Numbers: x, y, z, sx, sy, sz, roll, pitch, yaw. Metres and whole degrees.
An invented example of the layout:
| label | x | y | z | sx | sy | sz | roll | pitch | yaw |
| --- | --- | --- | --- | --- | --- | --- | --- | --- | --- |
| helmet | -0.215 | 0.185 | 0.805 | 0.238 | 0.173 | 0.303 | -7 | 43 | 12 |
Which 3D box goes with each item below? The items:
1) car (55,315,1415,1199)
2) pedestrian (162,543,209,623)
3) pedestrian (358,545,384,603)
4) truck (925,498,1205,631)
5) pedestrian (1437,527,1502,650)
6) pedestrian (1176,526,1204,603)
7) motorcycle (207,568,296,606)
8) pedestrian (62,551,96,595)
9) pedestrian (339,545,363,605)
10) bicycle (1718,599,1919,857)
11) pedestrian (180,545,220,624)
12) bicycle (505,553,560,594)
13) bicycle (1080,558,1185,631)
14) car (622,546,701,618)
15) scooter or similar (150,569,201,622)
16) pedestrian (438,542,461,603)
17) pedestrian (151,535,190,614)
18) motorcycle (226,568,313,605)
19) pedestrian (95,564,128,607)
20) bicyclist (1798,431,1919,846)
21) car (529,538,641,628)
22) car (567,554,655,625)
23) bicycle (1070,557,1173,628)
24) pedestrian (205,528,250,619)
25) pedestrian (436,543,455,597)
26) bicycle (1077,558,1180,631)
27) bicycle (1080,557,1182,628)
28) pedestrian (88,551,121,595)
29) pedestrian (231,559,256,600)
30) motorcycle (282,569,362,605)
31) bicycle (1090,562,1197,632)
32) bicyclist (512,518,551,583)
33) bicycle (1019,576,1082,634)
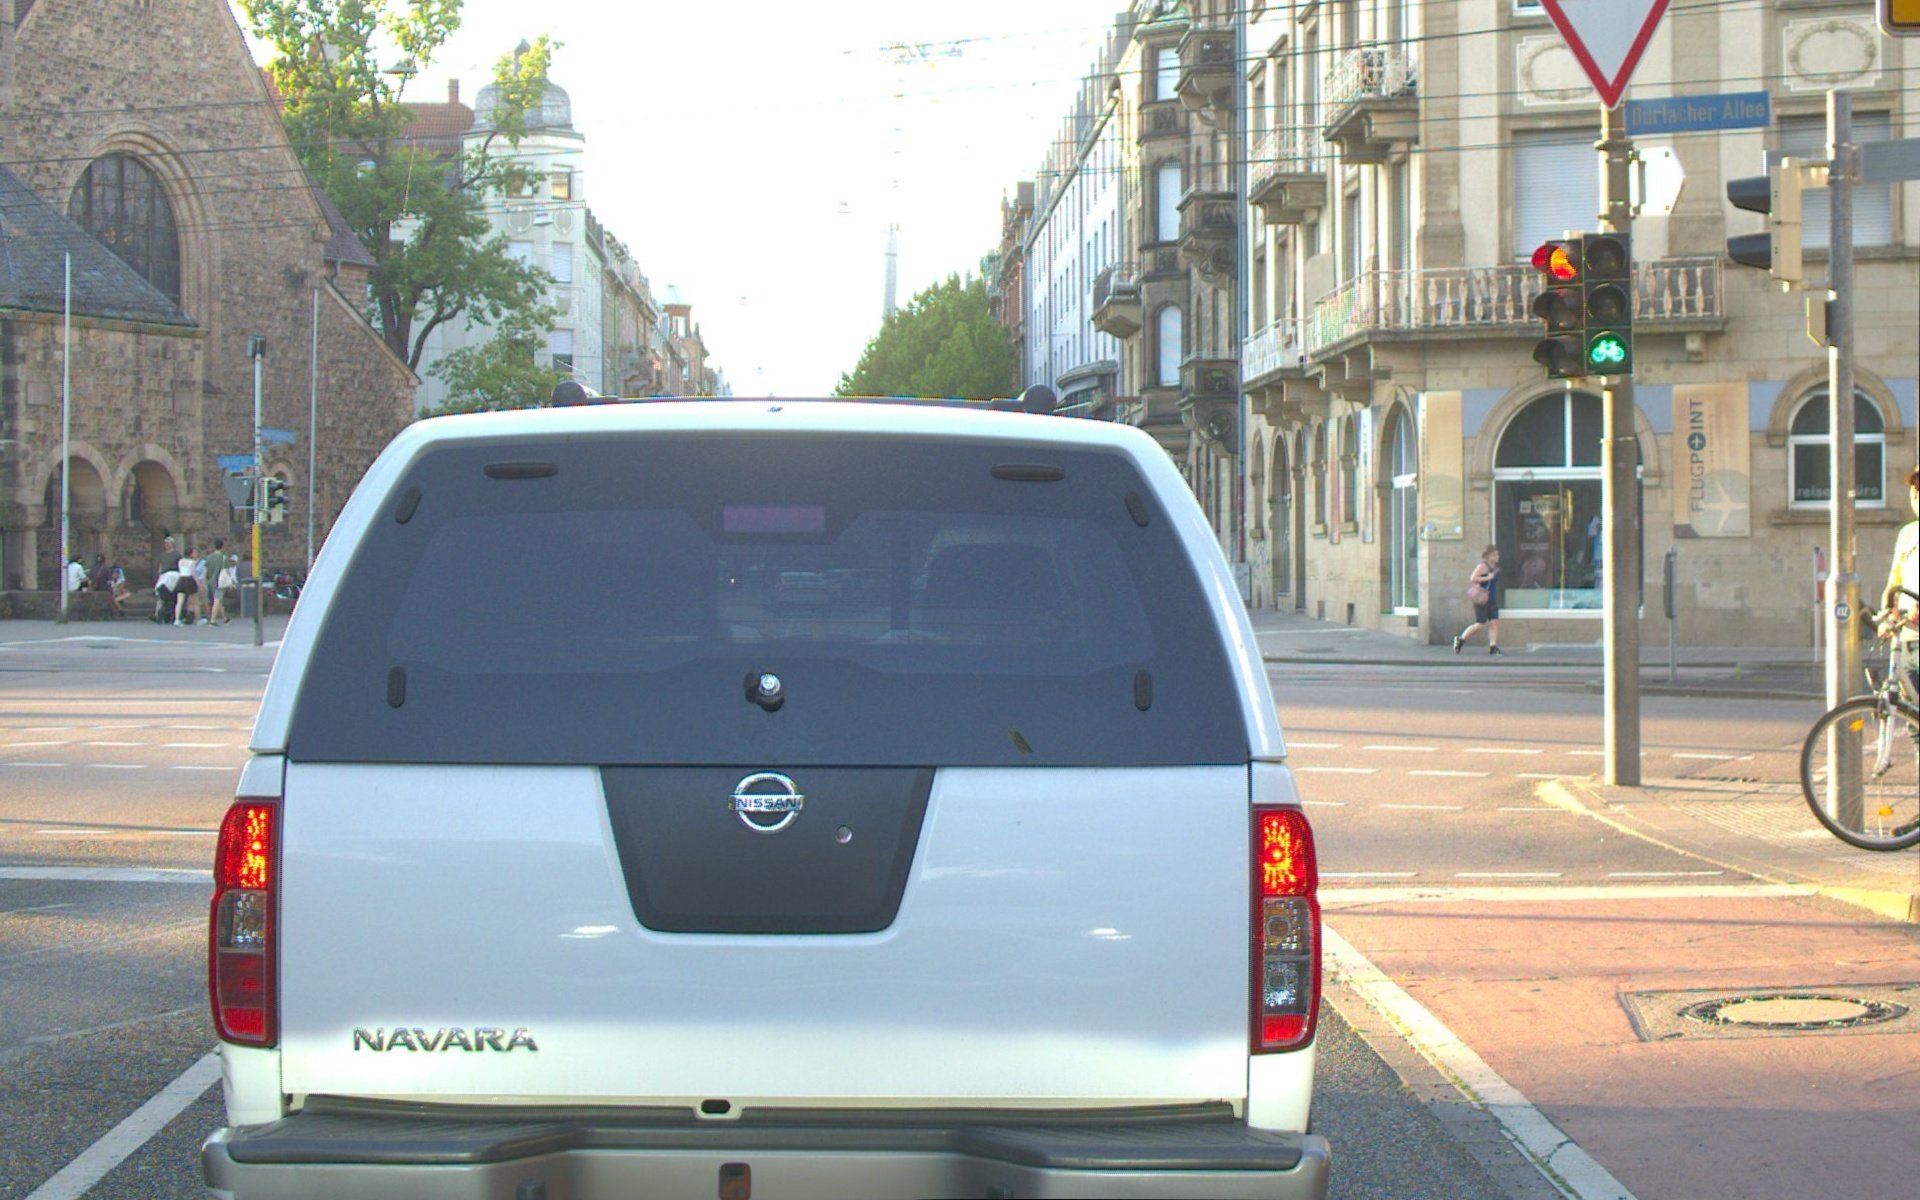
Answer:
| label | x | y | z | sx | sy | sz | roll | pitch | yaw |
| --- | --- | --- | --- | --- | --- | --- | --- | --- | --- |
| car | -0.359 | 0.488 | 7.097 | 1.993 | 1.803 | 4.000 | 1 | 0 | -1 |
| pedestrian | -16.284 | -0.363 | 72.278 | 0.812 | 1.664 | 0.860 | 1 | 0 | -3 |
| pedestrian | -17.093 | -0.754 | 99.830 | 0.642 | 1.690 | 0.562 | 1 | 0 | -1 |
| truck | 2.144 | -0.694 | 68.798 | 5.658 | 2.556 | 2.286 | 0 | 1 | -44 |
| pedestrian | 7.396 | -0.168 | 49.889 | 0.788 | 1.773 | 0.543 | 1 | 0 | 25 |
| pedestrian | 4.932 | -0.763 | 73.759 | 0.527 | 1.648 | 0.547 | 1 | 0 | -1 |
| motorcycle | -18.892 | -0.359 | 91.701 | 2.243 | 0.984 | 0.708 | 1 | 0 | -6 |
| pedestrian | -19.214 | -0.596 | 74.973 | 0.522 | 0.957 | 0.479 | 1 | 0 | 19 |
| pedestrian | -17.283 | -0.706 | 97.528 | 0.642 | 1.690 | 0.562 | 1 | 0 | -9 |
| bicycle | 4.425 | 0.558 | 15.615 | 2.065 | 1.106 | 0.628 | 1 | 0 | -33 |
| pedestrian | -16.416 | -0.338 | 74.285 | 0.634 | 1.693 | 0.602 | 1 | 0 | 10 |
| bicycle | -10.968 | -0.682 | 88.211 | 0.599 | 1.040 | 1.944 | 1 | 0 | 19 |
| bicycle | 3.174 | -0.103 | 63.183 | 1.817 | 1.233 | 0.488 | -3 | 0 | -2 |
| car | -8.689 | -0.552 | 100.389 | 1.993 | 2.007 | 4.951 | -1 | 1 | -2 |
| scooter or similar | -16.750 | -0.097 | 73.412 | 0.634 | 1.099 | 1.078 | 1 | 1 | 13 |
| pedestrian | -15.715 | -0.841 | 105.834 | 0.642 | 1.849 | 0.562 | 1 | 0 | -15 |
| pedestrian | -17.138 | -0.557 | 74.628 | 0.634 | 1.693 | 0.603 | 1 | 0 | 6 |
| motorcycle | -18.822 | -0.366 | 93.728 | 2.243 | 0.984 | 0.708 | 1 | 0 | -6 |
| pedestrian | -18.731 | -0.319 | 75.871 | 0.478 | 0.957 | 0.522 | 1 | 0 | 29 |
| bicyclist | 4.275 | 0.170 | 15.515 | 0.696 | 1.818 | 0.628 | 1 | 0 | -33 |
| car | -7.852 | -0.389 | 72.399 | 1.993 | 1.778 | 4.798 | 0 | 2 | -2 |
| car | -8.395 | -0.270 | 83.006 | 1.993 | 1.552 | 4.770 | -1 | 2 | -5 |
| bicycle | 3.089 | -0.142 | 65.756 | 1.855 | 1.233 | 0.531 | -3 | 0 | -2 |
| pedestrian | -15.405 | -0.549 | 72.322 | 0.812 | 1.894 | 0.666 | 1 | 0 | -3 |
| pedestrian | -15.975 | -0.931 | 106.672 | 0.560 | 1.690 | 0.645 | 1 | 0 | -8 |
| bicycle | 3.126 | -0.102 | 63.894 | 1.817 | 1.233 | 0.478 | -3 | 0 | -2 |
| bicycle | 3.218 | -0.138 | 64.620 | 1.817 | 1.233 | 0.412 | -3 | 0 | -2 |
| pedestrian | -18.588 | -0.587 | 74.699 | 0.522 | 0.957 | 0.479 | 1 | 0 | 19 |
| pedestrian | -16.734 | -0.485 | 80.324 | 0.521 | 0.957 | 0.479 | 1 | 0 | -16 |
| motorcycle | -17.825 | -0.363 | 96.018 | 2.167 | 0.984 | 0.593 | 1 | 0 | 19 |
| bicycle | 3.310 | -0.054 | 62.243 | 1.817 | 1.146 | 0.636 | -3 | 0 | -2 |
| bicyclist | -10.999 | -1.262 | 88.169 | 0.599 | 1.639 | 0.962 | 1 | 0 | 20 |
| bicycle | 1.675 | 0.091 | 63.590 | 1.076 | 1.021 | 0.317 | -3 | 0 | -2 |
